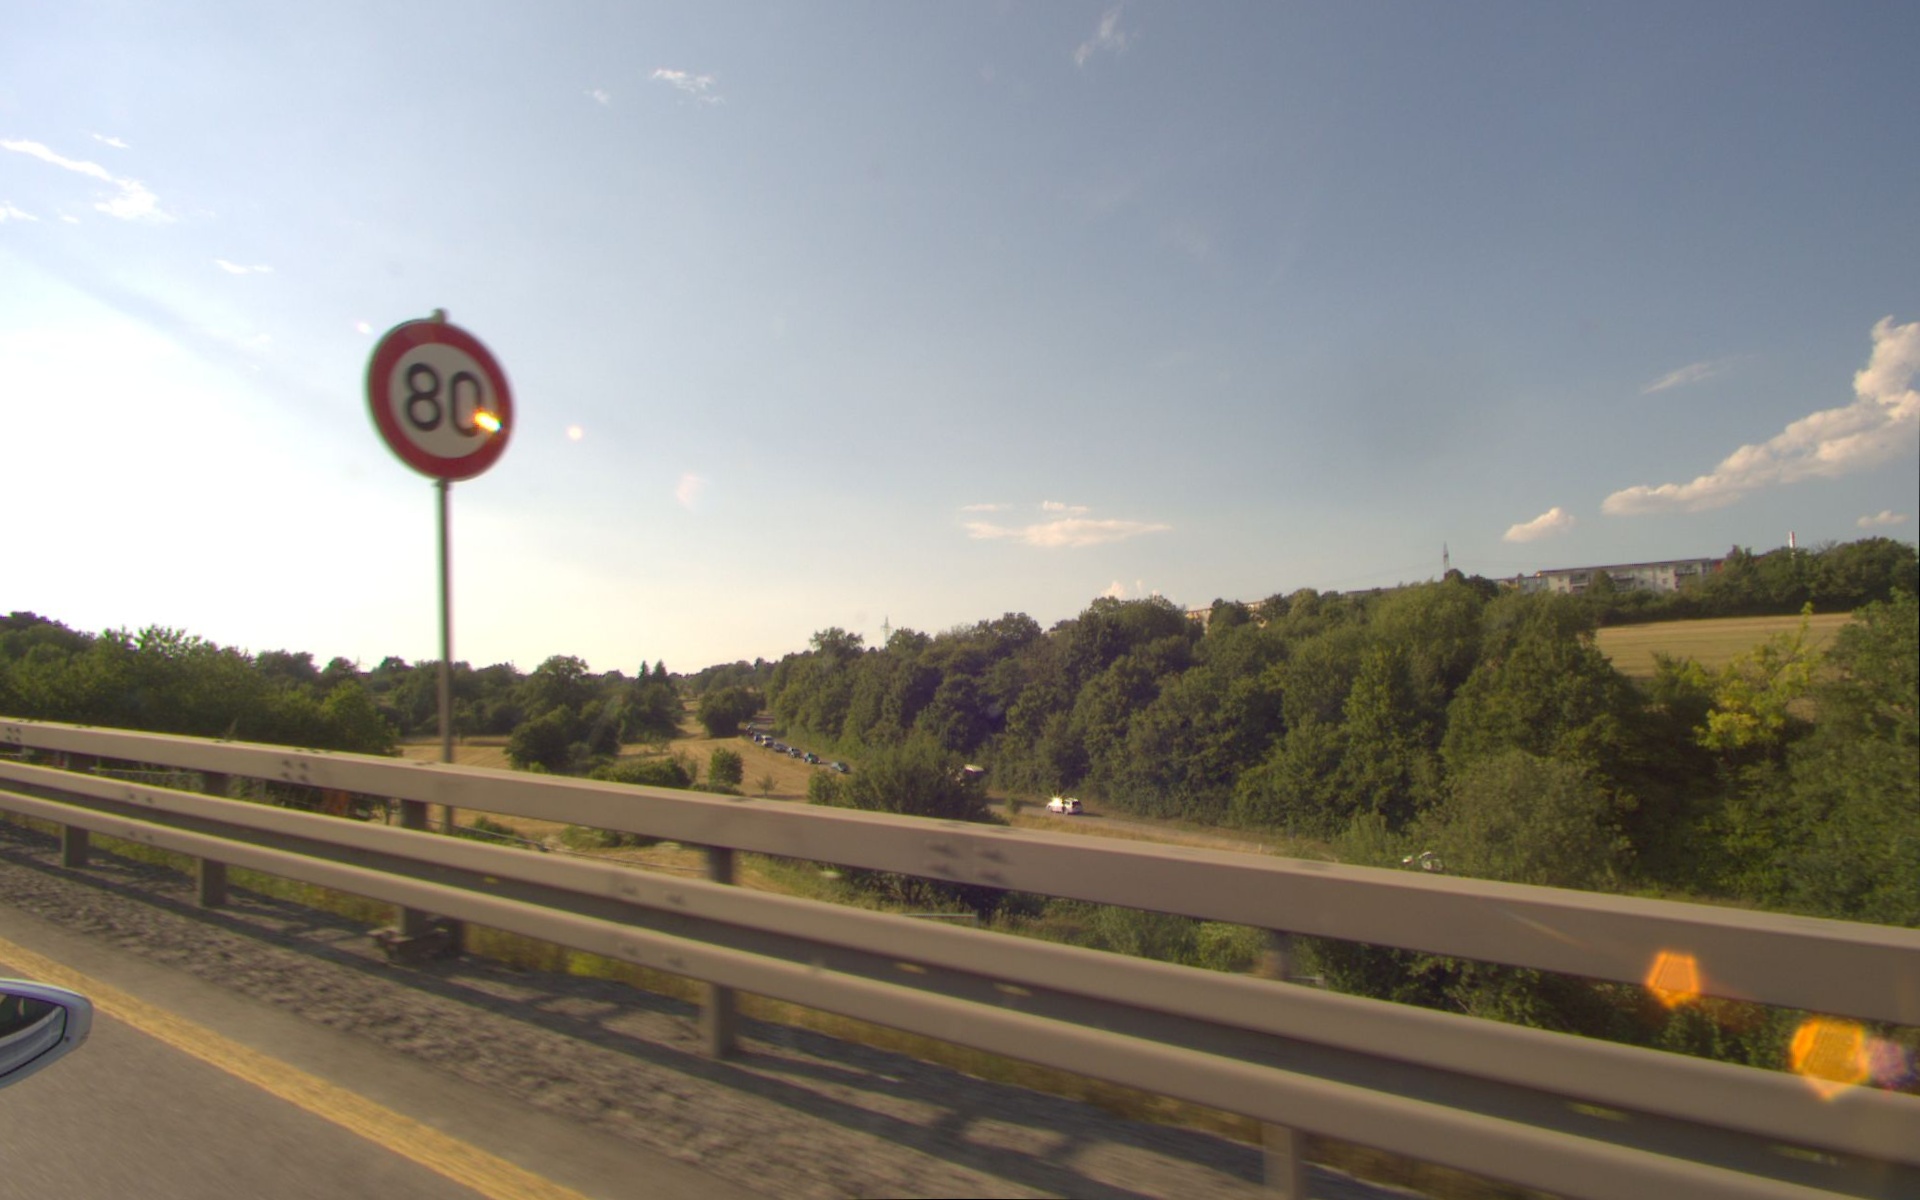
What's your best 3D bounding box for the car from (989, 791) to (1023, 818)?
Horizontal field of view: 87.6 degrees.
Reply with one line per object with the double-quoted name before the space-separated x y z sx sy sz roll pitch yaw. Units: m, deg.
"car" 4.657 20.866 102.205 1.853 2.039 3.986 0 -2 -25
